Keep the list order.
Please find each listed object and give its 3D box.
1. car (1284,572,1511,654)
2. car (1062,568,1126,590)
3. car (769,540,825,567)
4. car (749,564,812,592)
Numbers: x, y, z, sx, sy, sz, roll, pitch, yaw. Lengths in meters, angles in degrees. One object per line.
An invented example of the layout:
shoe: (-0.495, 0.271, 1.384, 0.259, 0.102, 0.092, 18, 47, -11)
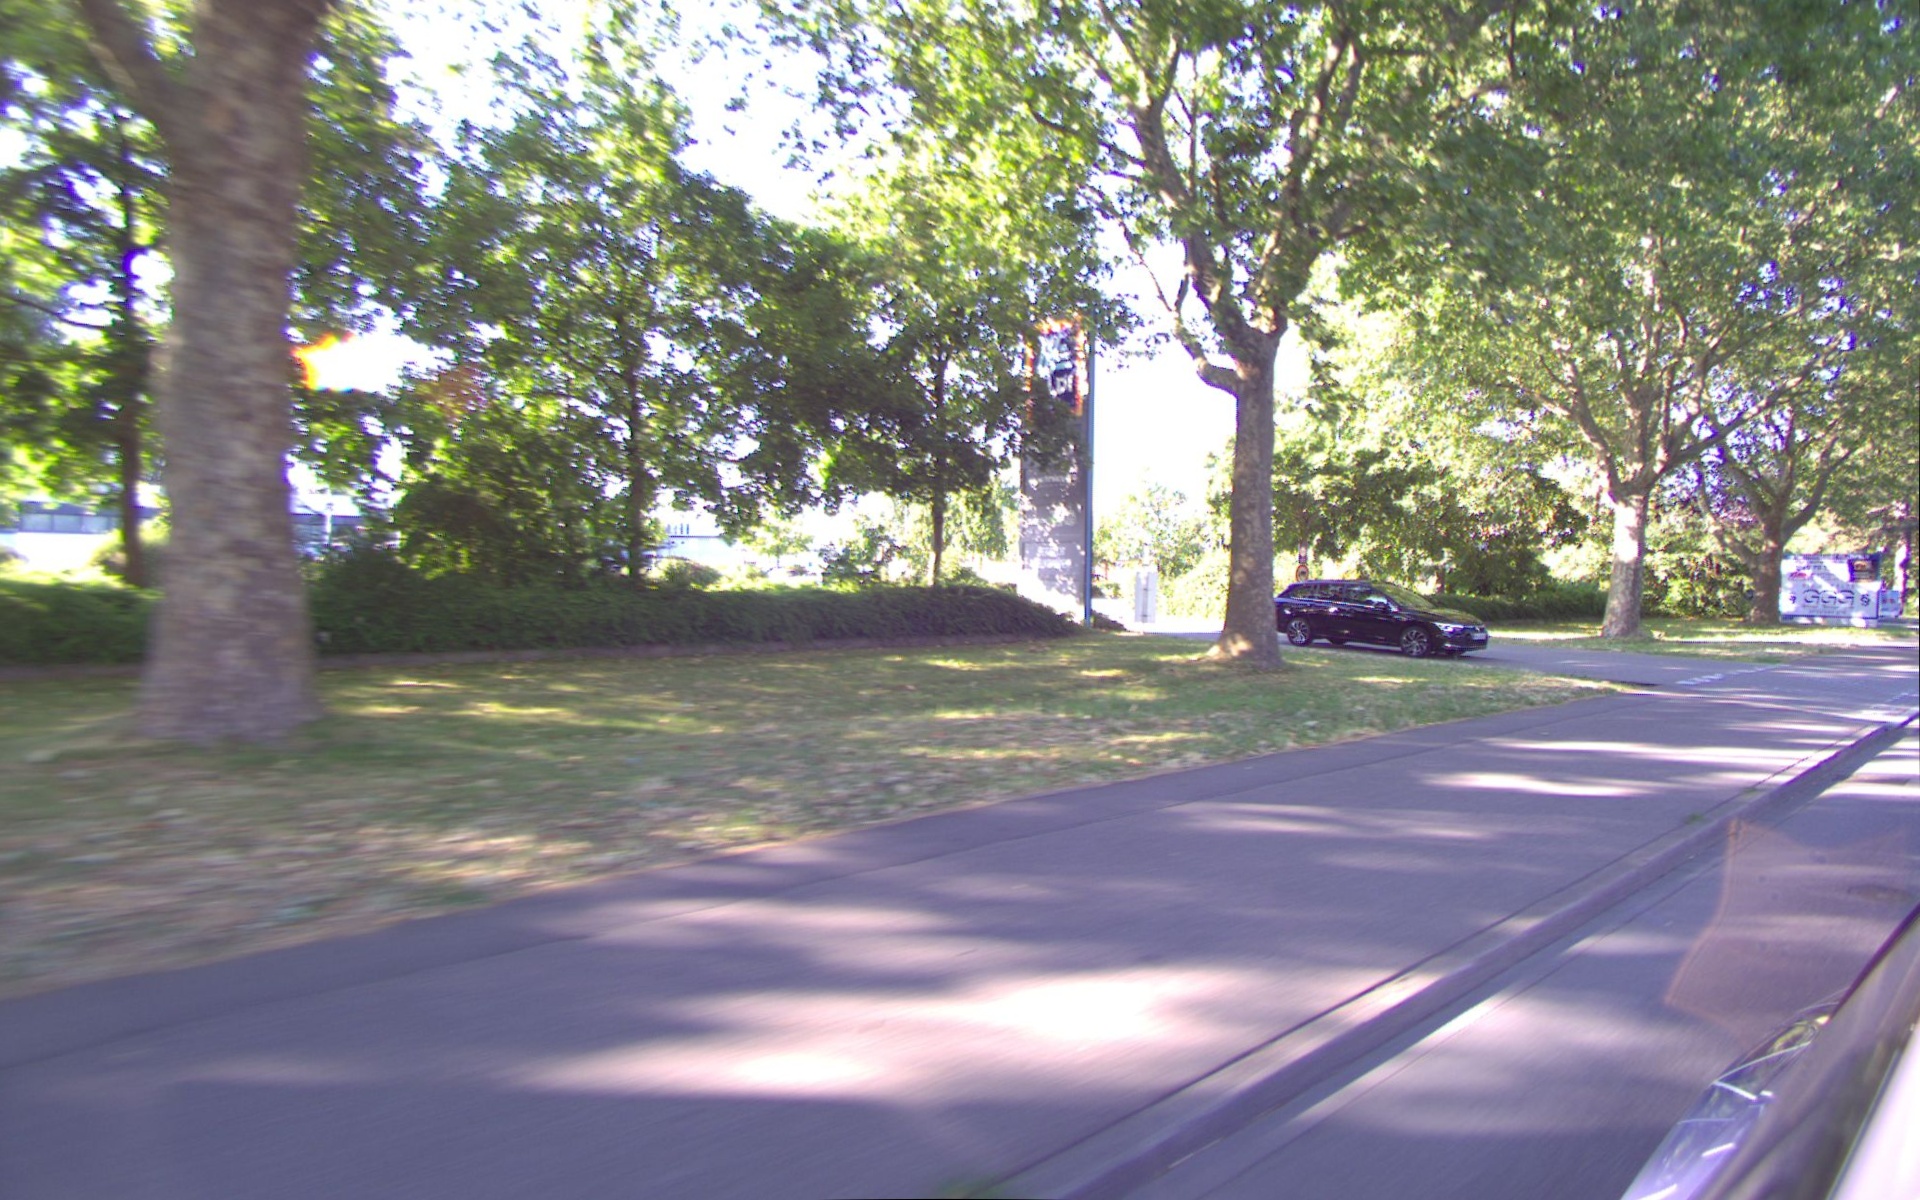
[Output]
car: (9.015, 0.201, 21.137, 1.728, 1.461, 3.999, 0, 3, -37)
car: (9.057, -1.433, 68.311, 3.924, 1.371, 2.001, 0, 2, -35)
car: (-10.170, -2.875, 62.889, 1.962, 1.571, 4.001, 0, 2, -34)
car: (-10.634, -1.330, 59.664, 1.962, 1.571, 4.591, 0, 2, -34)
